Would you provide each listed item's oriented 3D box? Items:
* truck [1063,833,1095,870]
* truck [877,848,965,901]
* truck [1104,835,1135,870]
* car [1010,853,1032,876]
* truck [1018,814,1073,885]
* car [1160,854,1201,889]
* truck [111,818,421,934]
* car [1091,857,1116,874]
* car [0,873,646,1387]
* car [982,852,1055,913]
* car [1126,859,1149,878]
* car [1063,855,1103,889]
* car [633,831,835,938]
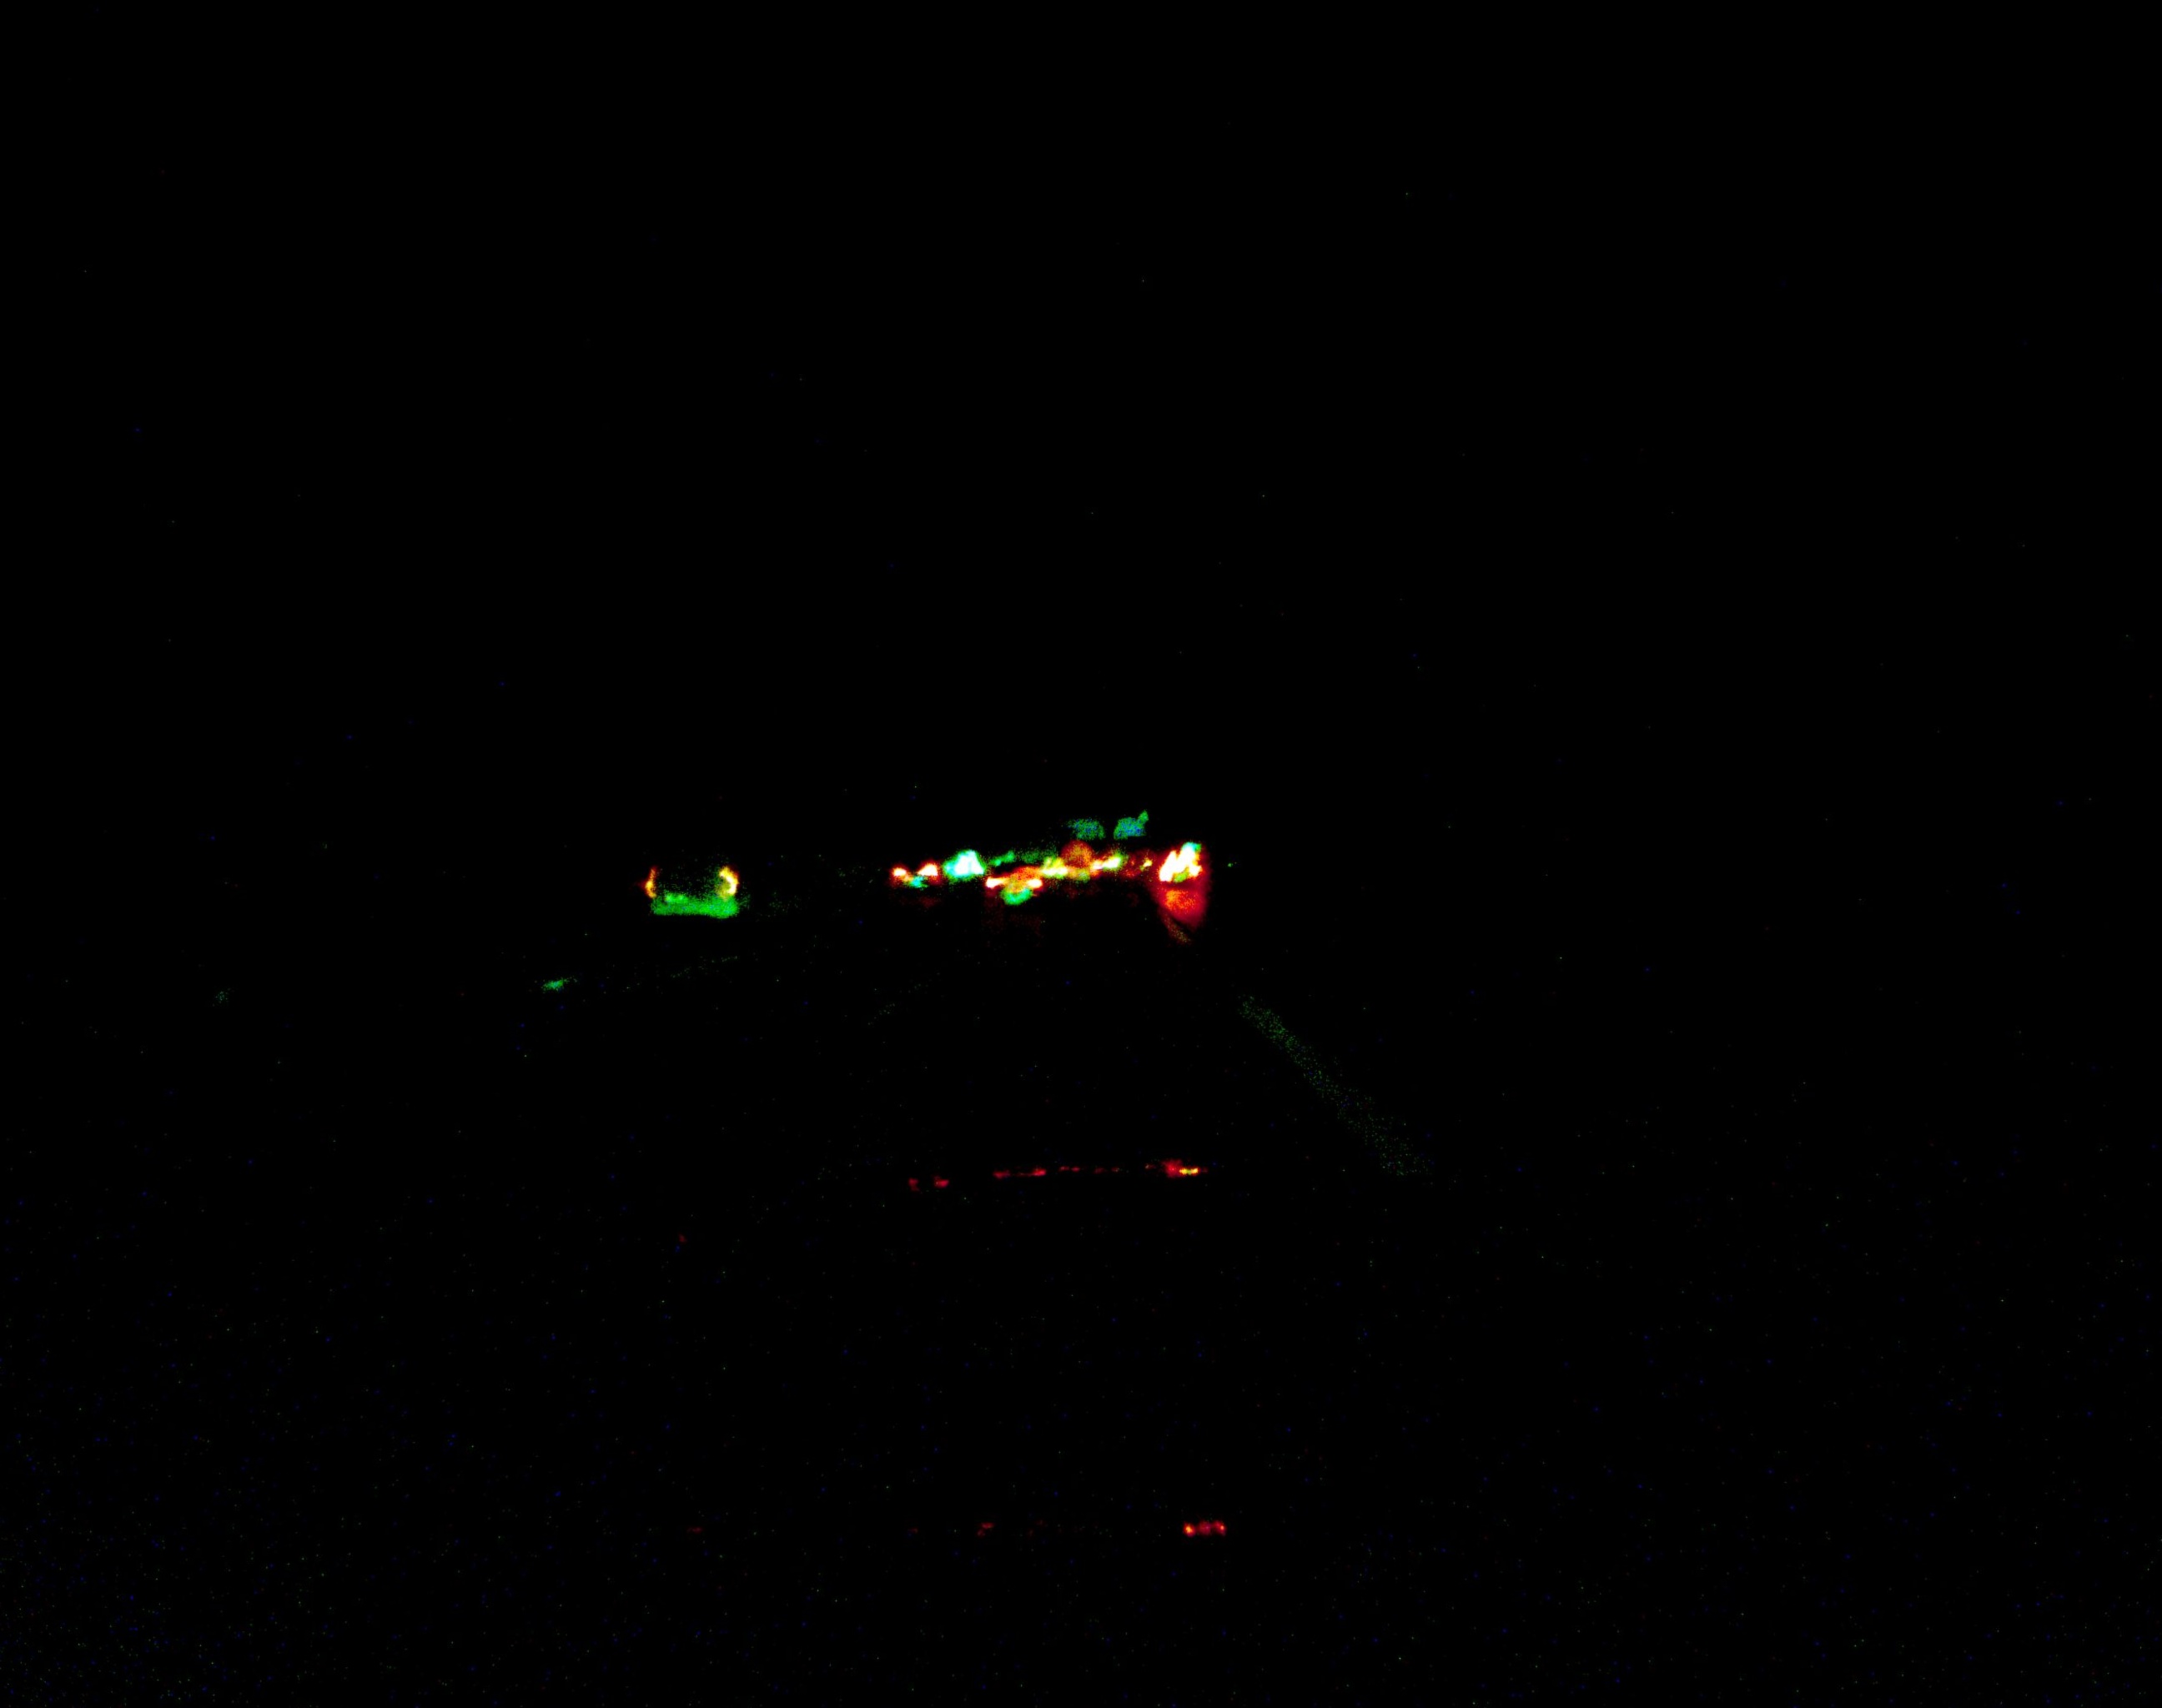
[{"bbox_3d":[-0.192,-0.361,125.155,4.236,5.444,10.893,0,-1,3],"label":"truck"},{"bbox_3d":[-7.086,0.885,36.822,2.849,2.201,5.856,0,-1,-1],"label":"truck"},{"bbox_3d":[5.819,-0.162,125.612,4.149,5.215,9.949,0,-1,-1],"label":"truck"},{"bbox_3d":[-6.318,1.110,85.370,2.260,2.273,5.376,0,-1,-4],"label":"car"},{"bbox_3d":[-2.586,-0.250,59.994,3.647,4.737,9.843,0,-1,-2],"label":"truck"},{"bbox_3d":[5.236,0.918,43.345,1.870,1.762,4.002,0,-1,2],"label":"car"},{"bbox_3d":[-23.949,0.616,24.565,2.442,2.999,6.704,0,-1,2],"label":"truck"},{"bbox_3d":[2.739,1.355,97.113,2.822,2.014,5.513,0,-1,2],"label":"car"},{"bbox_3d":[-3.977,0.861,3.695,1.651,1.431,4.247,-1,0,1],"label":"car"},{"bbox_3d":[-1.841,0.809,25.098,1.758,1.689,4.003,-1,0,2],"label":"car"},{"bbox_3d":[5.256,1.300,76.034,1.986,1.704,4.460,0,-1,2],"label":"car"},{"bbox_3d":[0.175,0.944,44.683,2.031,1.761,4.517,0,-1,2],"label":"car"},{"bbox_3d":[-7.778,0.625,19.062,2.115,2.104,5.632,-1,0,2],"label":"car"}]
